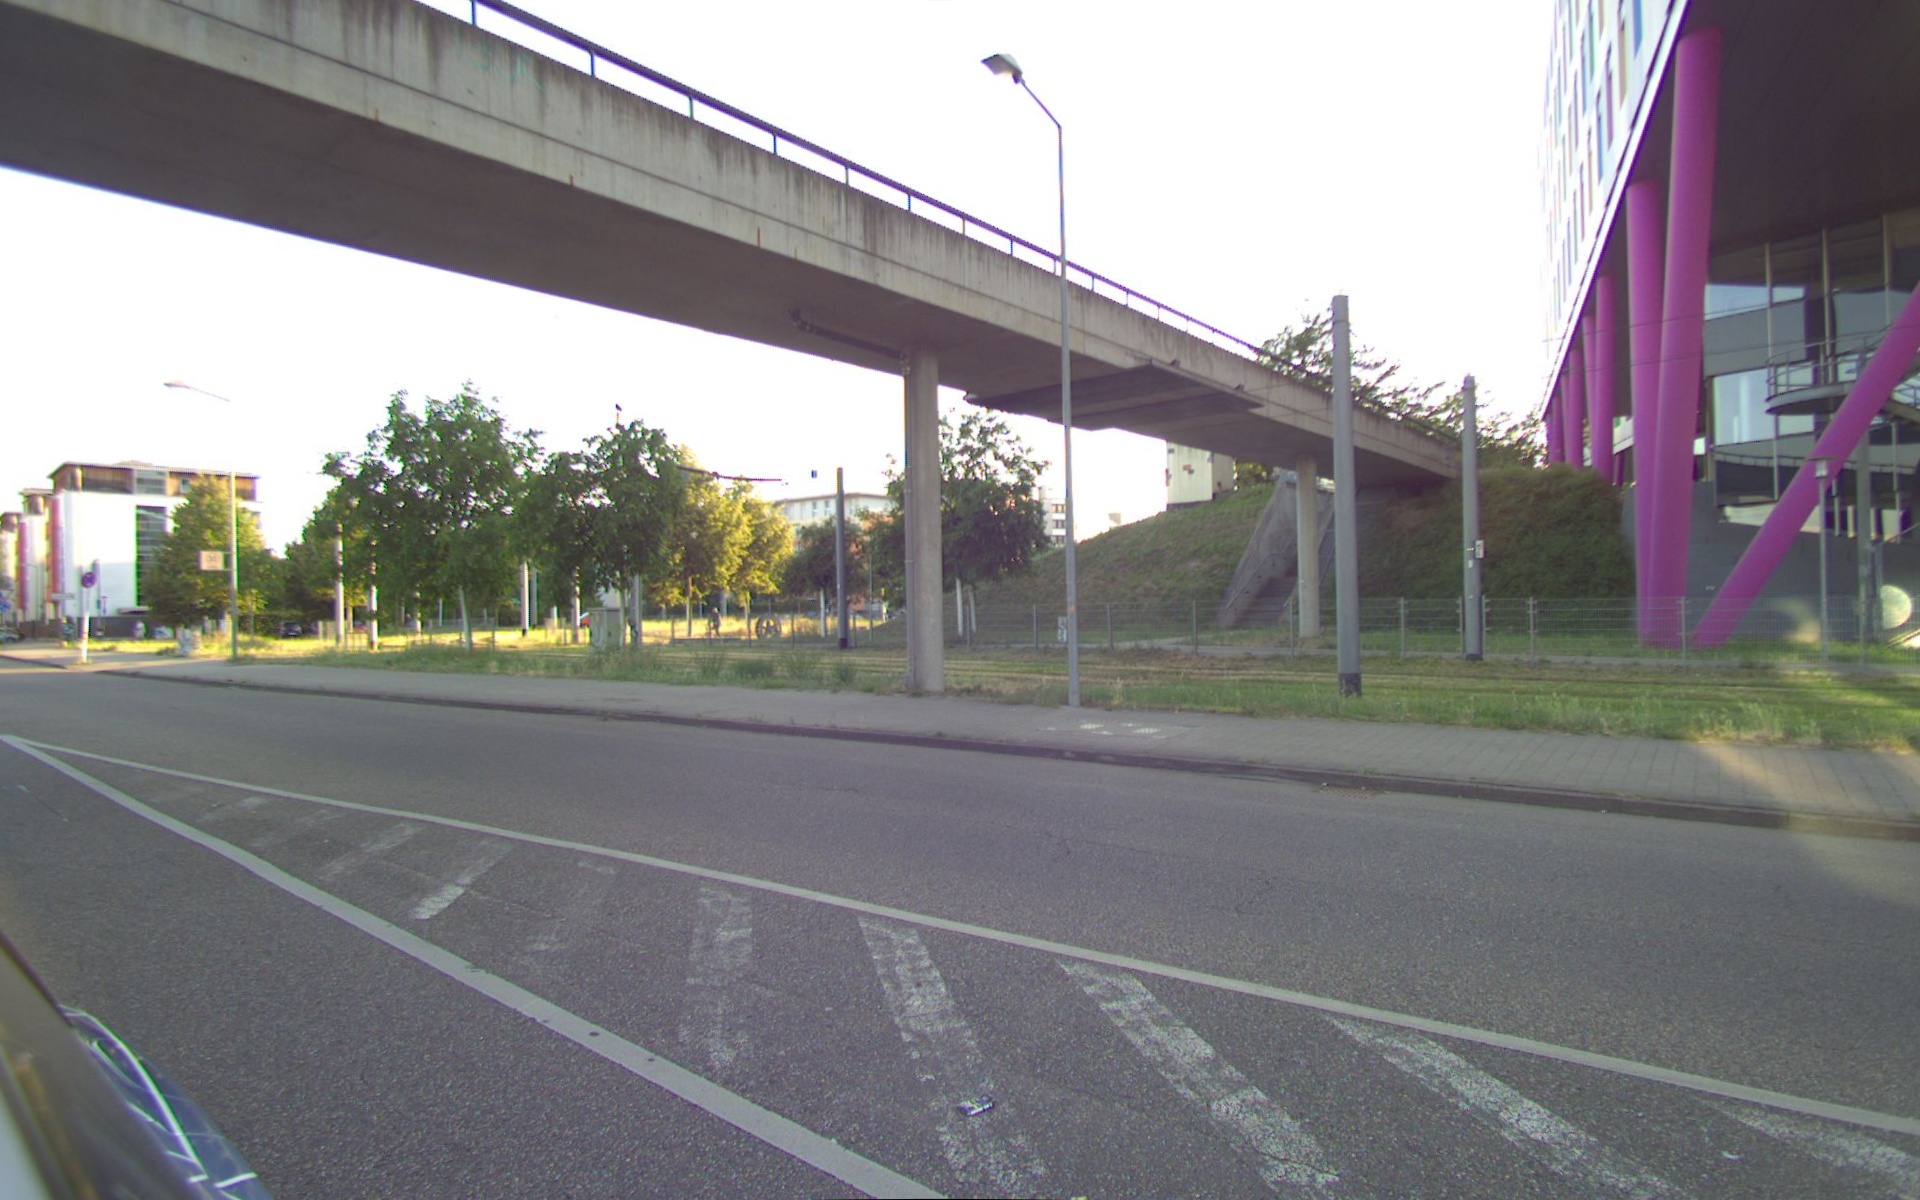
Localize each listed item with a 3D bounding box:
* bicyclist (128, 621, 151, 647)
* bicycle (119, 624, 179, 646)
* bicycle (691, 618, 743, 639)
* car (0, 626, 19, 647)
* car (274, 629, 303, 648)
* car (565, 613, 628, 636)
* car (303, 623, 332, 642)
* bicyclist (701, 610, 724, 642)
[{"bbox_3d":[-59.305,2.466,73.158,0.880,1.890,1.023,-1,-1,32],"label":"bicyclist"},{"bbox_3d":[-59.101,2.535,73.795,0.884,1.503,3.287,-2,-1,30],"label":"bicycle"},{"bbox_3d":[-12.493,1.460,52.065,0.654,1.016,2.808,-2,-1,37],"label":"bicycle"},{"bbox_3d":[-80.648,3.077,83.690,2.000,1.741,3.944,-2,-1,42],"label":"car"},{"bbox_3d":[-56.900,3.254,85.759,1.913,1.541,4.009,-1,-1,-36],"label":"car"},{"bbox_3d":[-35.328,2.372,98.498,5.438,2.029,2.004,-1,-1,-39],"label":"car"},{"bbox_3d":[-55.282,2.745,87.052,1.913,1.541,4.009,-1,-1,-36],"label":"car"},{"bbox_3d":[-12.686,1.328,51.942,0.716,1.644,0.899,-2,-1,36],"label":"bicyclist"}]
